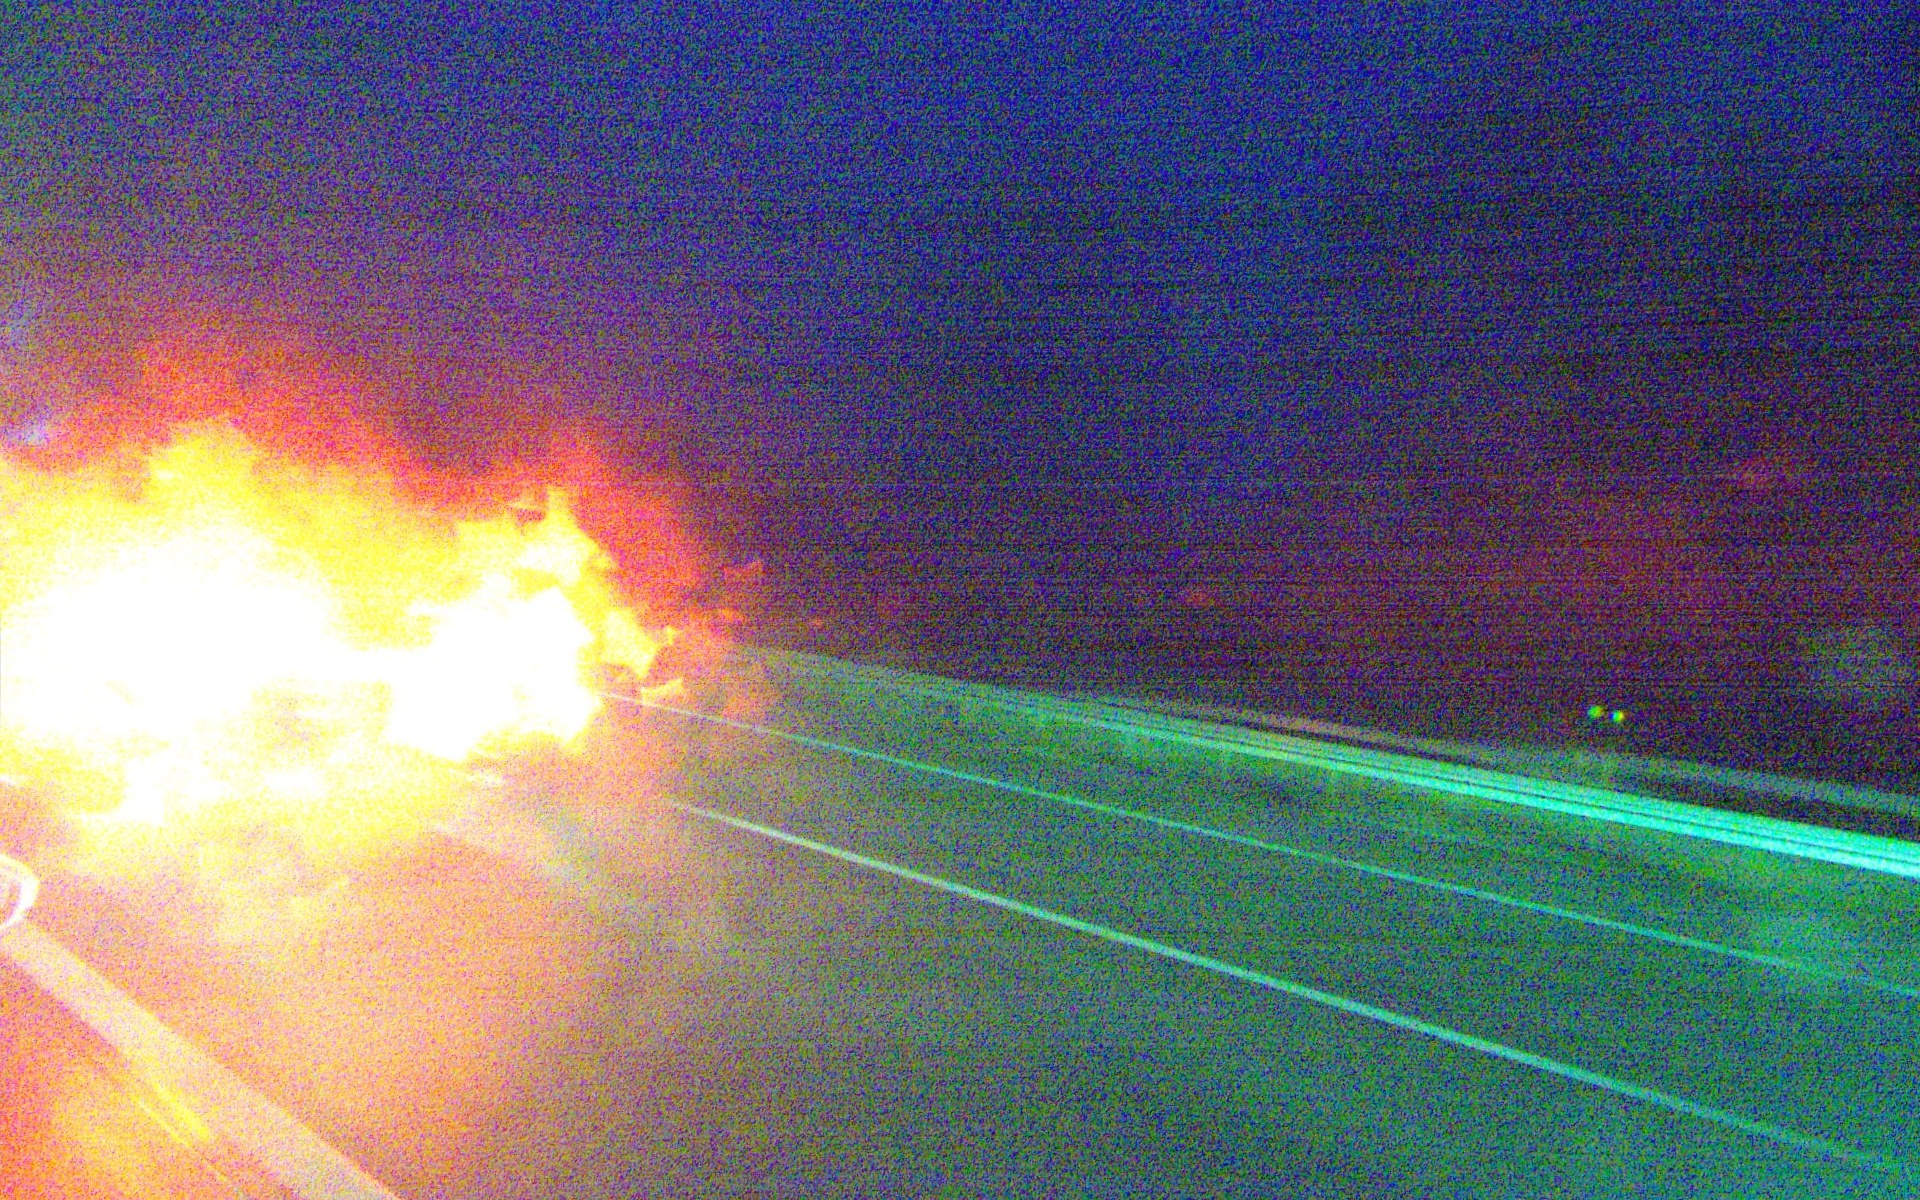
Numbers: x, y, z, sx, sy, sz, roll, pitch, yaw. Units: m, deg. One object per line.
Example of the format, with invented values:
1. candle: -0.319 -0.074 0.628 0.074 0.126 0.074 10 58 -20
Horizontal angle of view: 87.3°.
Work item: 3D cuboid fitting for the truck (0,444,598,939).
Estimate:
1. truck: -4.422 0.197 5.550 4.774 1.716 1.847 6 -2 32
